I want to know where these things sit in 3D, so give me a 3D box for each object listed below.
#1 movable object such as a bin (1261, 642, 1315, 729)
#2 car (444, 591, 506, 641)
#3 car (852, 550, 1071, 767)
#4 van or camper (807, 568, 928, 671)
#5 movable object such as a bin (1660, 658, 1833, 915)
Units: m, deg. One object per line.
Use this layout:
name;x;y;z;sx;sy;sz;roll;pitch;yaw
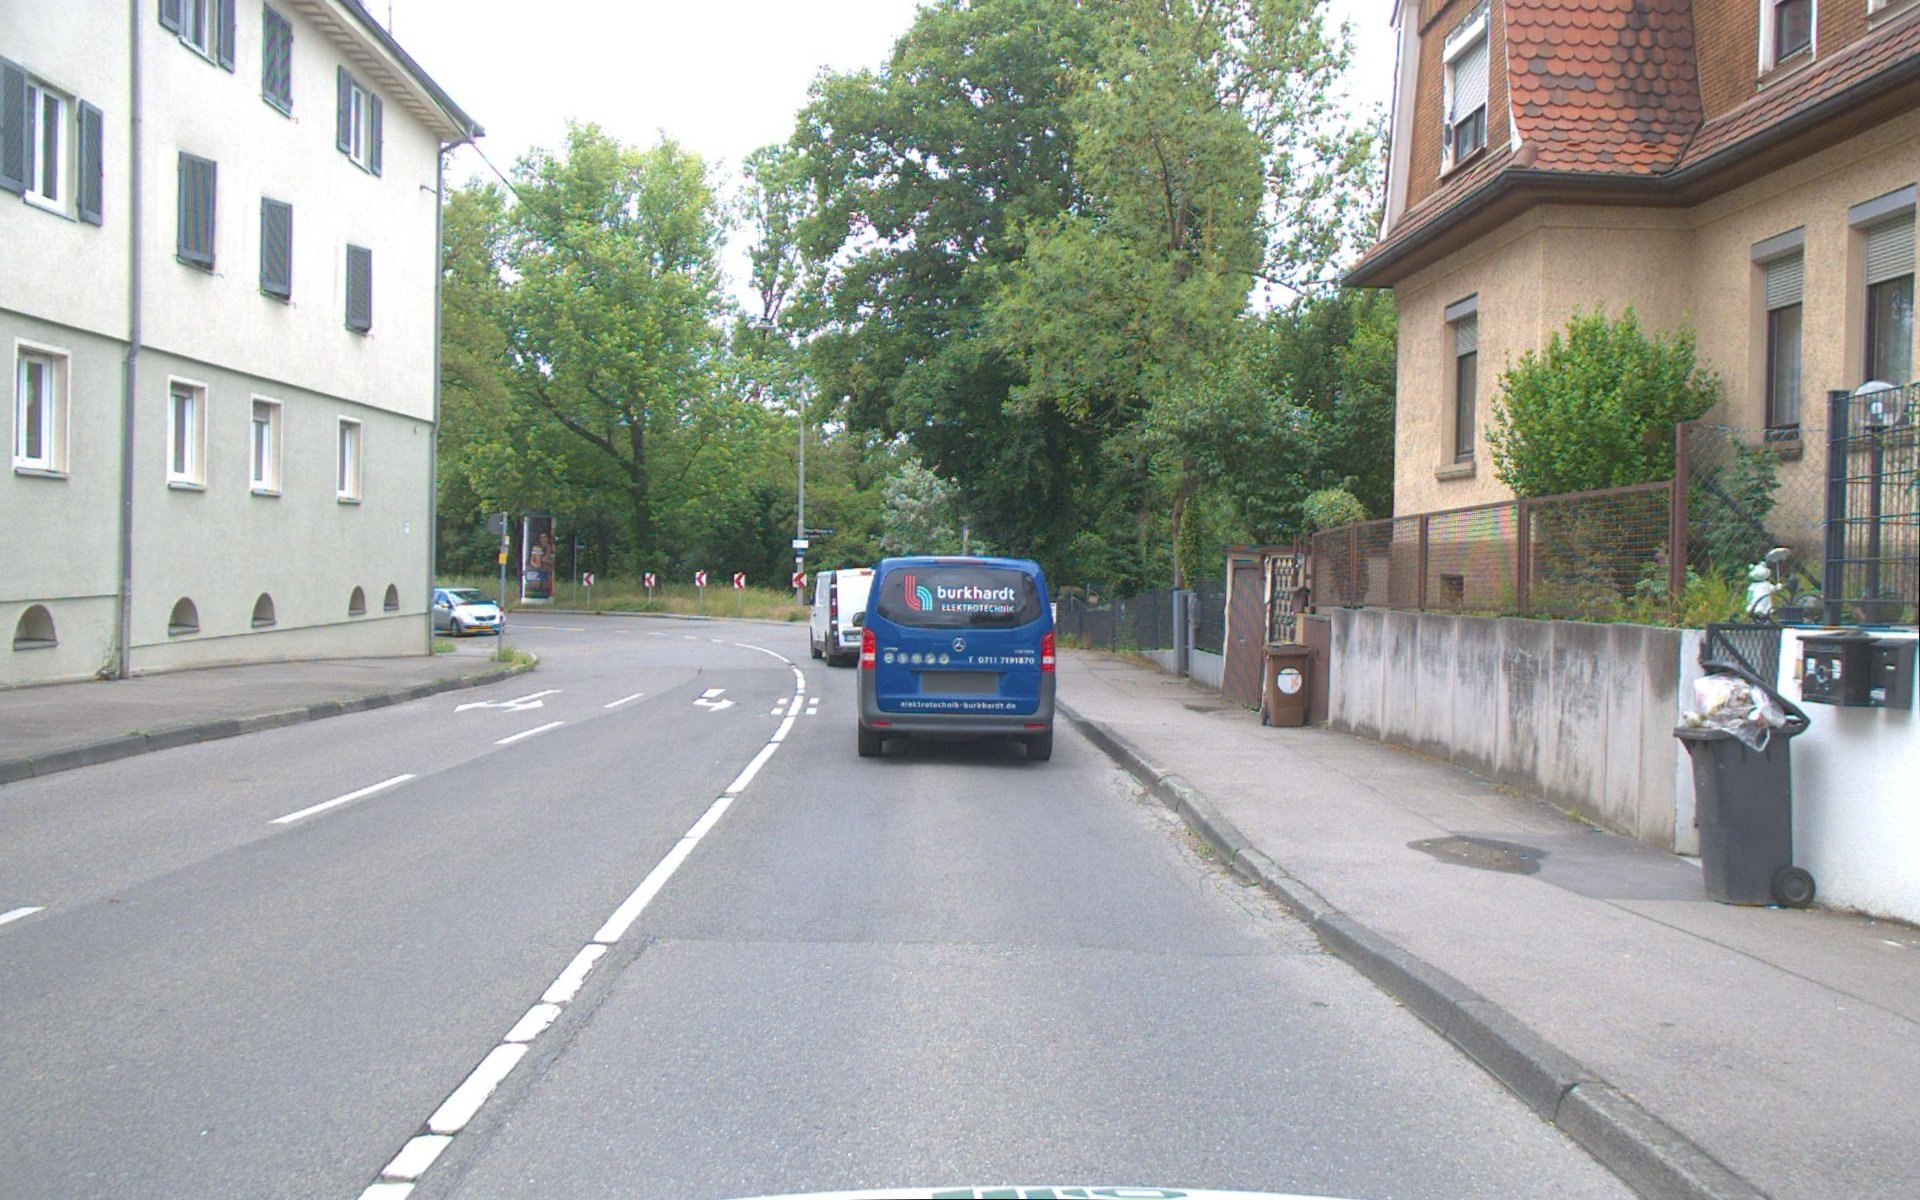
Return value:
movable object such as a bin;3.703;0.957;18.690;0.452;0.940;0.566;-2;0;-3
car;-16.791;0.518;57.133;1.698;1.633;3.951;1;0;-21
car;-0.122;0.511;16.759;1.876;1.870;4.290;1;0;-4
van or camper;-2.047;0.345;35.169;1.983;1.991;4.884;-1;1;-10
movable object such as a bin;3.954;0.916;8.347;0.517;1.198;0.634;-2;0;-3
